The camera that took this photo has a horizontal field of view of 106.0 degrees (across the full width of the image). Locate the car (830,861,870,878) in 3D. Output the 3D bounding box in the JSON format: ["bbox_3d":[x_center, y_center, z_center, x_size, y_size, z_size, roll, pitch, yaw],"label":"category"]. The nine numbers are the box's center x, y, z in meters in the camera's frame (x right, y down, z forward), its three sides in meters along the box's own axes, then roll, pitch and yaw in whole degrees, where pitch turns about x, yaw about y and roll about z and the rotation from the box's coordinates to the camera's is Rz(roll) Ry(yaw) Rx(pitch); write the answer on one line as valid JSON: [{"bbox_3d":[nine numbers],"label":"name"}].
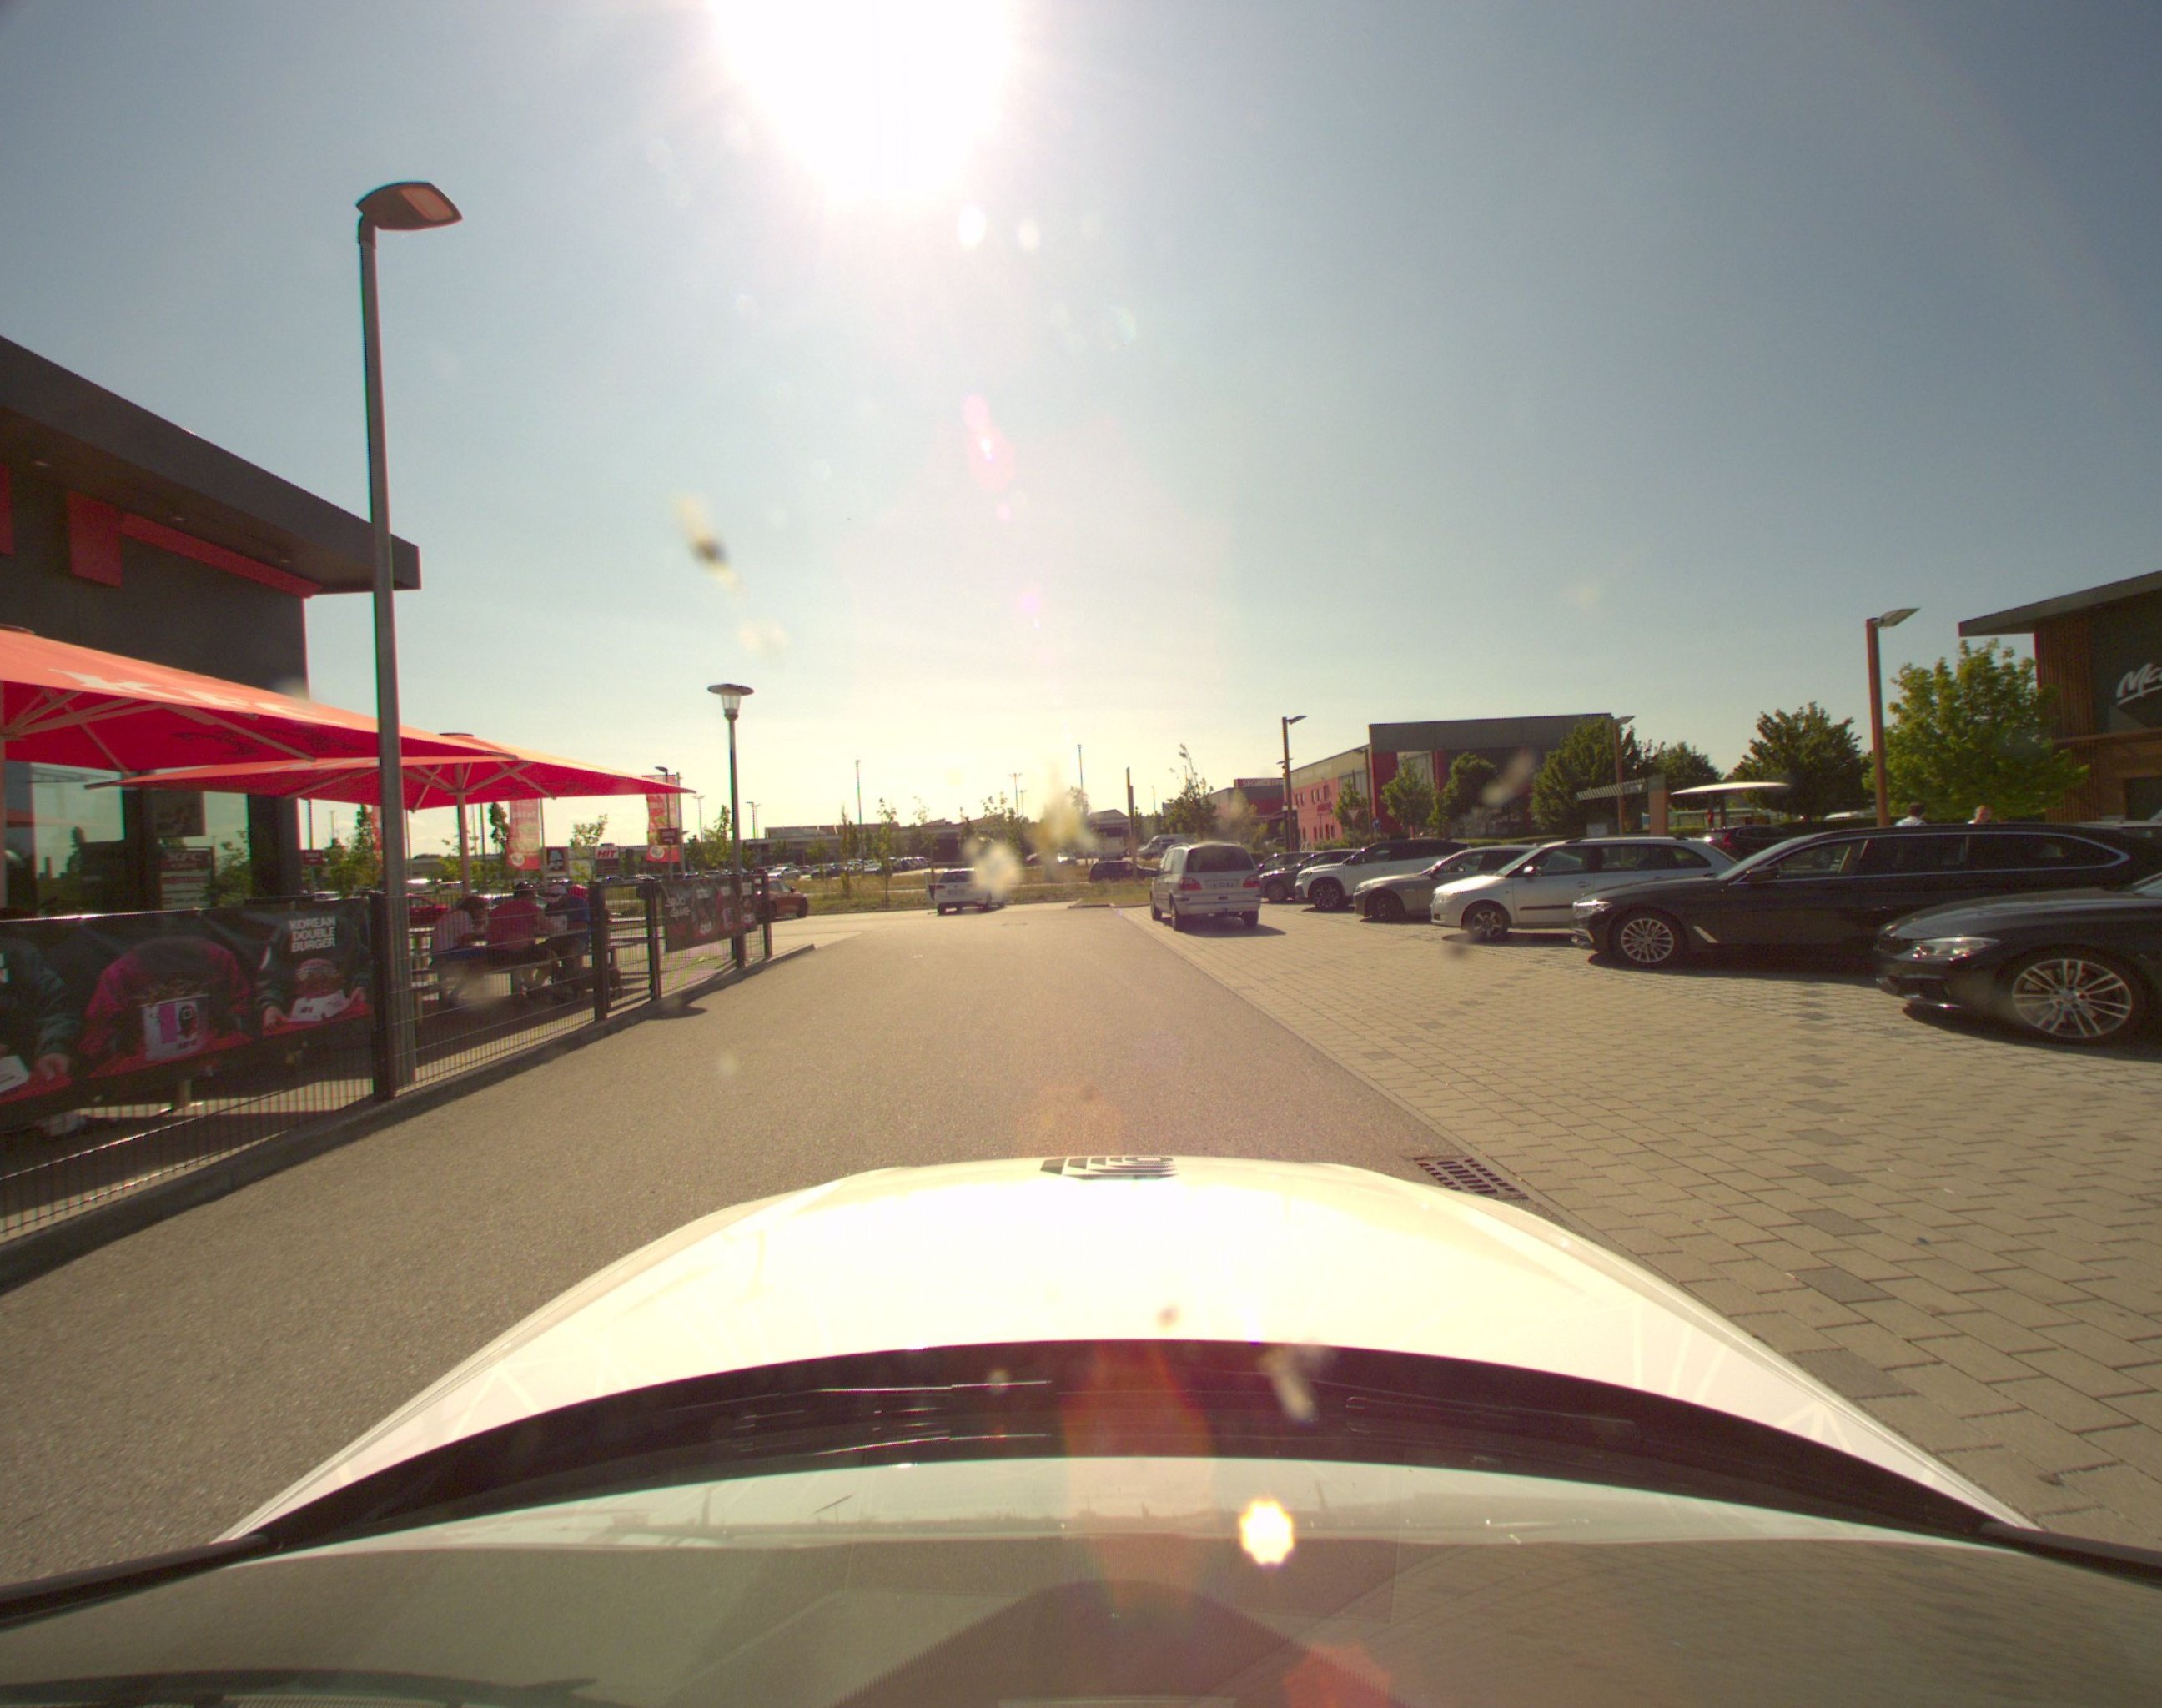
[{"bbox_3d":[-28.076,1.859,99.087,4.382,1.855,1.953,-2,0,-4],"label":"car"}]

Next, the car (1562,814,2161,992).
[{"bbox_3d":[8.122,0.455,8.833,4.721,1.486,1.988,-2,0,38],"label":"car"}]

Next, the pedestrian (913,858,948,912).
[{"bbox_3d":[-5.280,1.085,28.553,0.988,1.809,0.726,-3,-1,0],"label":"pedestrian"}]

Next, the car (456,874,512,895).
[{"bbox_3d":[-66.775,3.390,91.199,1.983,2.013,5.189,-2,0,6],"label":"car"}]

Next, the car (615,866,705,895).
[{"bbox_3d":[-29.312,1.827,56.796,5.189,1.731,1.989,-2,0,0],"label":"car"}]

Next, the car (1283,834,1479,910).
[{"bbox_3d":[7.269,0.437,19.801,4.153,1.654,1.988,-2,0,29],"label":"car"}]

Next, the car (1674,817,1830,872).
[{"bbox_3d":[23.945,-0.337,29.147,4.220,1.691,1.991,-3,0,-9],"label":"car"}]

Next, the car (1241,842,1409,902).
[{"bbox_3d":[6.933,0.523,23.242,4.152,1.526,1.988,-2,0,33],"label":"car"}]

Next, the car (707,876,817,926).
[{"bbox_3d":[-11.120,1.598,28.761,1.818,1.469,4.359,-3,-1,5],"label":"car"}]

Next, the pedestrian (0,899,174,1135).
[{"bbox_3d":[-6.362,0.963,5.038,0.660,1.304,0.713,-2,0,5],"label":"pedestrian"}]

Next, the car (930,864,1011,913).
[{"bbox_3d":[-3.702,1.130,28.034,1.819,1.469,4.486,-3,-1,4],"label":"car"}]

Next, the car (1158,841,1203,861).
[{"bbox_3d":[10.441,-0.332,85.583,4.382,1.855,1.953,-2,0,-4],"label":"car"}]

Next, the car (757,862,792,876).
[{"bbox_3d":[-44.418,2.159,118.103,4.382,1.855,1.953,-2,0,-4],"label":"car"}]

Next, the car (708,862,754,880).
[{"bbox_3d":[-41.929,2.040,97.697,4.549,1.855,1.953,-2,0,-4],"label":"car"}]

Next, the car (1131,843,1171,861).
[{"bbox_3d":[8.218,-0.230,95.402,4.382,1.855,1.953,-2,0,-4],"label":"car"}]

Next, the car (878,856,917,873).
[{"bbox_3d":[-22.210,1.204,98.678,4.382,1.855,1.953,-2,0,-4],"label":"car"}]

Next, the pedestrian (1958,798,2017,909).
[{"bbox_3d":[14.825,-0.013,13.334,0.461,1.768,0.556,-3,0,34],"label":"pedestrian"}]

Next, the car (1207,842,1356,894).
[{"bbox_3d":[6.545,0.495,26.823,4.277,1.526,1.988,-2,0,40],"label":"car"}]

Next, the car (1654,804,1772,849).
[{"bbox_3d":[34.944,-1.513,45.099,5.078,2.197,1.998,-2,0,-3],"label":"car"}]

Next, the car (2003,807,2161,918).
[{"bbox_3d":[15.987,0.067,12.633,1.690,1.493,4.140,-3,-1,42],"label":"car"}]

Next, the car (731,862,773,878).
[{"bbox_3d":[-42.580,2.072,105.511,4.549,1.855,1.953,-2,0,-4],"label":"car"}]

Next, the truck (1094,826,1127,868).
[{"bbox_3d":[2.665,-0.621,73.450,2.749,3.480,6.836,-2,0,2],"label":"truck"}]

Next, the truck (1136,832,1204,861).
[{"bbox_3d":[9.582,-0.774,88.258,7.022,2.814,1.953,-2,0,-4],"label":"truck"}]

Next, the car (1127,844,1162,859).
[{"bbox_3d":[8.395,-0.356,107.845,4.382,1.855,1.953,-2,0,-4],"label":"car"}]

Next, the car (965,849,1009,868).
[{"bbox_3d":[-10.937,0.503,94.491,4.913,2.013,2.076,-2,0,-8],"label":"car"}]

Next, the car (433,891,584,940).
[{"bbox_3d":[-20.679,2.182,29.681,1.724,1.413,4.613,-3,-1,9],"label":"car"}]

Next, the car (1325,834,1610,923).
[{"bbox_3d":[7.561,0.488,16.119,4.783,1.526,1.988,-2,0,34],"label":"car"}]

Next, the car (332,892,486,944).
[{"bbox_3d":[-25.424,2.377,31.041,1.933,1.638,4.242,-3,-1,9],"label":"car"}]

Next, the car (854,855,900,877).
[{"bbox_3d":[-18.876,1.101,75.725,1.933,1.855,4.427,-2,0,20],"label":"car"}]

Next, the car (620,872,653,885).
[{"bbox_3d":[-60.040,3.336,110.063,3.464,1.552,1.661,-2,0,-9],"label":"car"}]

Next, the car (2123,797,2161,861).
[{"bbox_3d":[29.457,-0.718,19.958,4.409,1.602,1.975,-2,0,36],"label":"car"}]

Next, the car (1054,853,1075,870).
[{"bbox_3d":[-1.458,0.660,73.916,1.644,1.459,3.968,-2,0,1],"label":"car"}]

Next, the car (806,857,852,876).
[{"bbox_3d":[-28.083,1.394,90.845,4.382,1.855,1.953,-2,0,-4],"label":"car"}]

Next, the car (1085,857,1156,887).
[{"bbox_3d":[2.242,1.037,46.978,3.974,1.495,1.676,-2,0,0],"label":"car"}]

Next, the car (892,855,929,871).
[{"bbox_3d":[-22.387,1.217,106.995,4.382,1.855,1.953,-2,0,-4],"label":"car"}]

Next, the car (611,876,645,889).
[{"bbox_3d":[-59.557,3.720,107.147,3.464,1.552,1.661,-2,0,-9],"label":"car"}]

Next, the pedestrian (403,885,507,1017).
[{"bbox_3d":[-6.535,0.988,8.527,0.685,1.273,0.547,-2,0,-20],"label":"pedestrian"}]

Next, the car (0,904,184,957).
[{"bbox_3d":[-39.854,3.045,32.984,1.878,1.703,4.343,-3,-1,9],"label":"car"}]

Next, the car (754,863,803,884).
[{"bbox_3d":[-29.034,1.846,78.283,1.977,1.855,4.308,-2,0,20],"label":"car"}]

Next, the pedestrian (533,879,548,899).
[{"bbox_3d":[-42.758,2.781,64.421,0.659,1.556,0.629,-2,0,22],"label":"pedestrian"}]

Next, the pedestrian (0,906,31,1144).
[{"bbox_3d":[-6.324,0.961,4.292,0.660,1.304,0.688,-2,0,5],"label":"pedestrian"}]

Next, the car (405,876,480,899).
[{"bbox_3d":[-72.115,3.731,92.117,2.790,2.237,6.329,-2,0,10],"label":"car"}]

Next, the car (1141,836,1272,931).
[{"bbox_3d":[2.624,0.590,18.177,1.824,1.748,4.676,-3,0,-4],"label":"car"}]

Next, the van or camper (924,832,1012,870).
[{"bbox_3d":[-10.365,-0.218,74.141,7.952,3.101,2.434,-2,0,30],"label":"van or camper"}]

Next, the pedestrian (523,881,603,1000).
[{"bbox_3d":[-5.929,0.963,9.349,0.614,1.273,0.620,-2,0,-20],"label":"pedestrian"}]

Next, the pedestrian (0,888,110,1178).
[{"bbox_3d":[-5.595,0.889,3.986,0.660,1.387,0.809,-2,0,5],"label":"pedestrian"}]

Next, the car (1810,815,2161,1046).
[{"bbox_3d":[7.971,0.445,5.519,4.313,1.459,1.848,-2,0,37],"label":"car"}]

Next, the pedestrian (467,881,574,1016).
[{"bbox_3d":[-5.814,0.948,8.501,0.685,1.273,0.836,-2,0,-20],"label":"pedestrian"}]

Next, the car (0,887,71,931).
[{"bbox_3d":[-46.579,2.400,34.346,1.876,1.760,4.607,-3,-1,14],"label":"car"}]

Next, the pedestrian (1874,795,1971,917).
[{"bbox_3d":[13.391,0.023,12.970,0.772,1.849,0.827,-2,0,-27],"label":"pedestrian"}]

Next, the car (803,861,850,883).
[{"bbox_3d":[-24.101,1.682,77.220,1.933,1.855,4.427,-2,0,20],"label":"car"}]

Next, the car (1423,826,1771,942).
[{"bbox_3d":[7.587,0.454,12.479,4.154,1.526,1.987,-2,0,26],"label":"car"}]

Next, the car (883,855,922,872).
[{"bbox_3d":[-22.111,1.202,101.040,4.382,1.855,1.953,-2,0,-4],"label":"car"}]

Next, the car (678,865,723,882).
[{"bbox_3d":[-50.240,2.592,107.643,4.913,2.013,2.076,-2,0,-8],"label":"car"}]

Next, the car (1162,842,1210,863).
[{"bbox_3d":[10.336,-0.187,80.534,4.382,1.855,1.953,-2,0,-4],"label":"car"}]

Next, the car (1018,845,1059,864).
[{"bbox_3d":[-4.493,0.071,86.625,4.245,1.855,1.867,-2,0,-4],"label":"car"}]
